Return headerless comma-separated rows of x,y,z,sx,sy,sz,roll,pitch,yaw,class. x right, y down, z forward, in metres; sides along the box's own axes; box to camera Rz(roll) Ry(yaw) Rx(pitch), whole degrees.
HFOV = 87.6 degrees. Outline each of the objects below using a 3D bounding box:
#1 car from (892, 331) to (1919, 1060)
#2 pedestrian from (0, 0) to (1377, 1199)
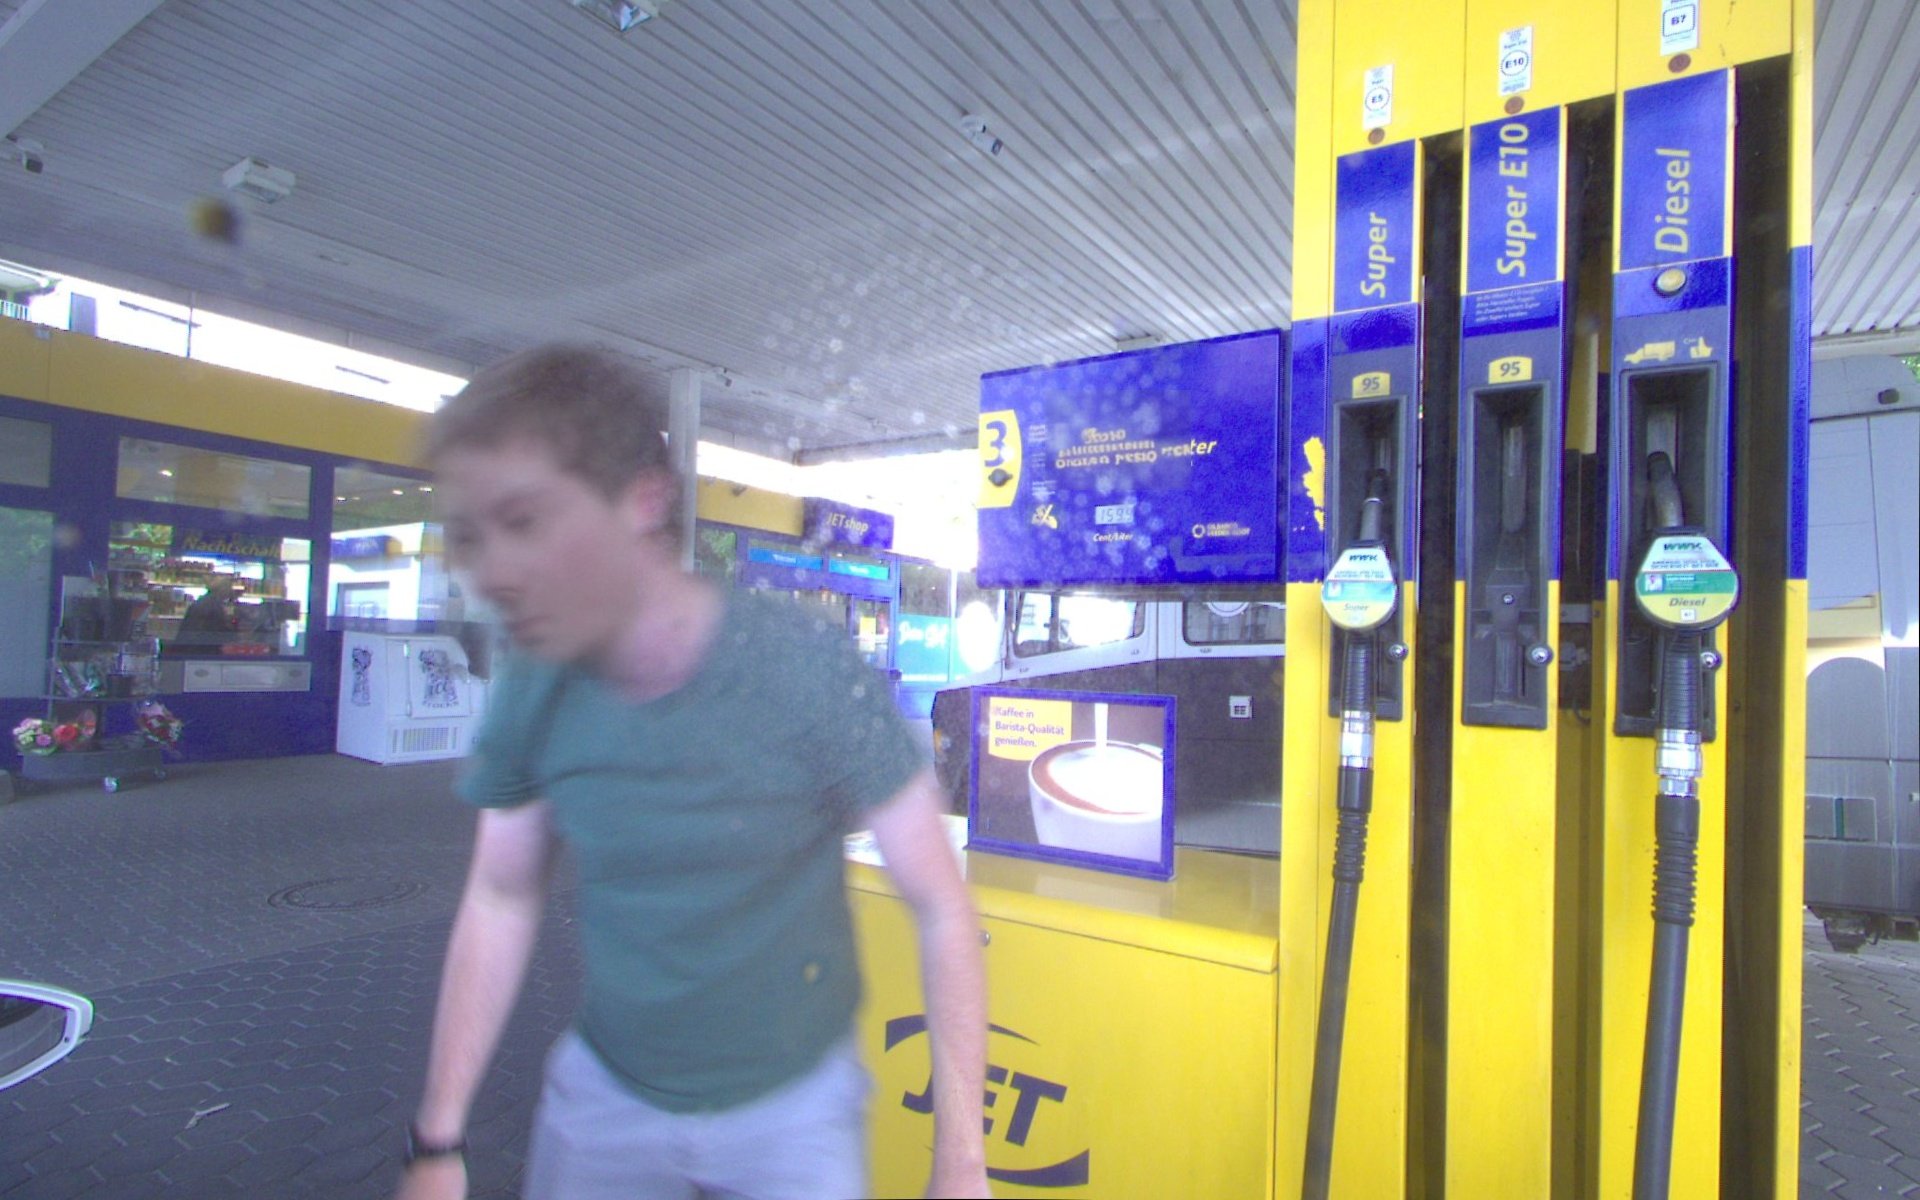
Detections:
2.352,0.439,6.004,5.271,2.759,2.193,-1,-3,34,car
-0.318,0.595,1.107,0.975,1.750,1.183,-1,-2,-9,pedestrian
